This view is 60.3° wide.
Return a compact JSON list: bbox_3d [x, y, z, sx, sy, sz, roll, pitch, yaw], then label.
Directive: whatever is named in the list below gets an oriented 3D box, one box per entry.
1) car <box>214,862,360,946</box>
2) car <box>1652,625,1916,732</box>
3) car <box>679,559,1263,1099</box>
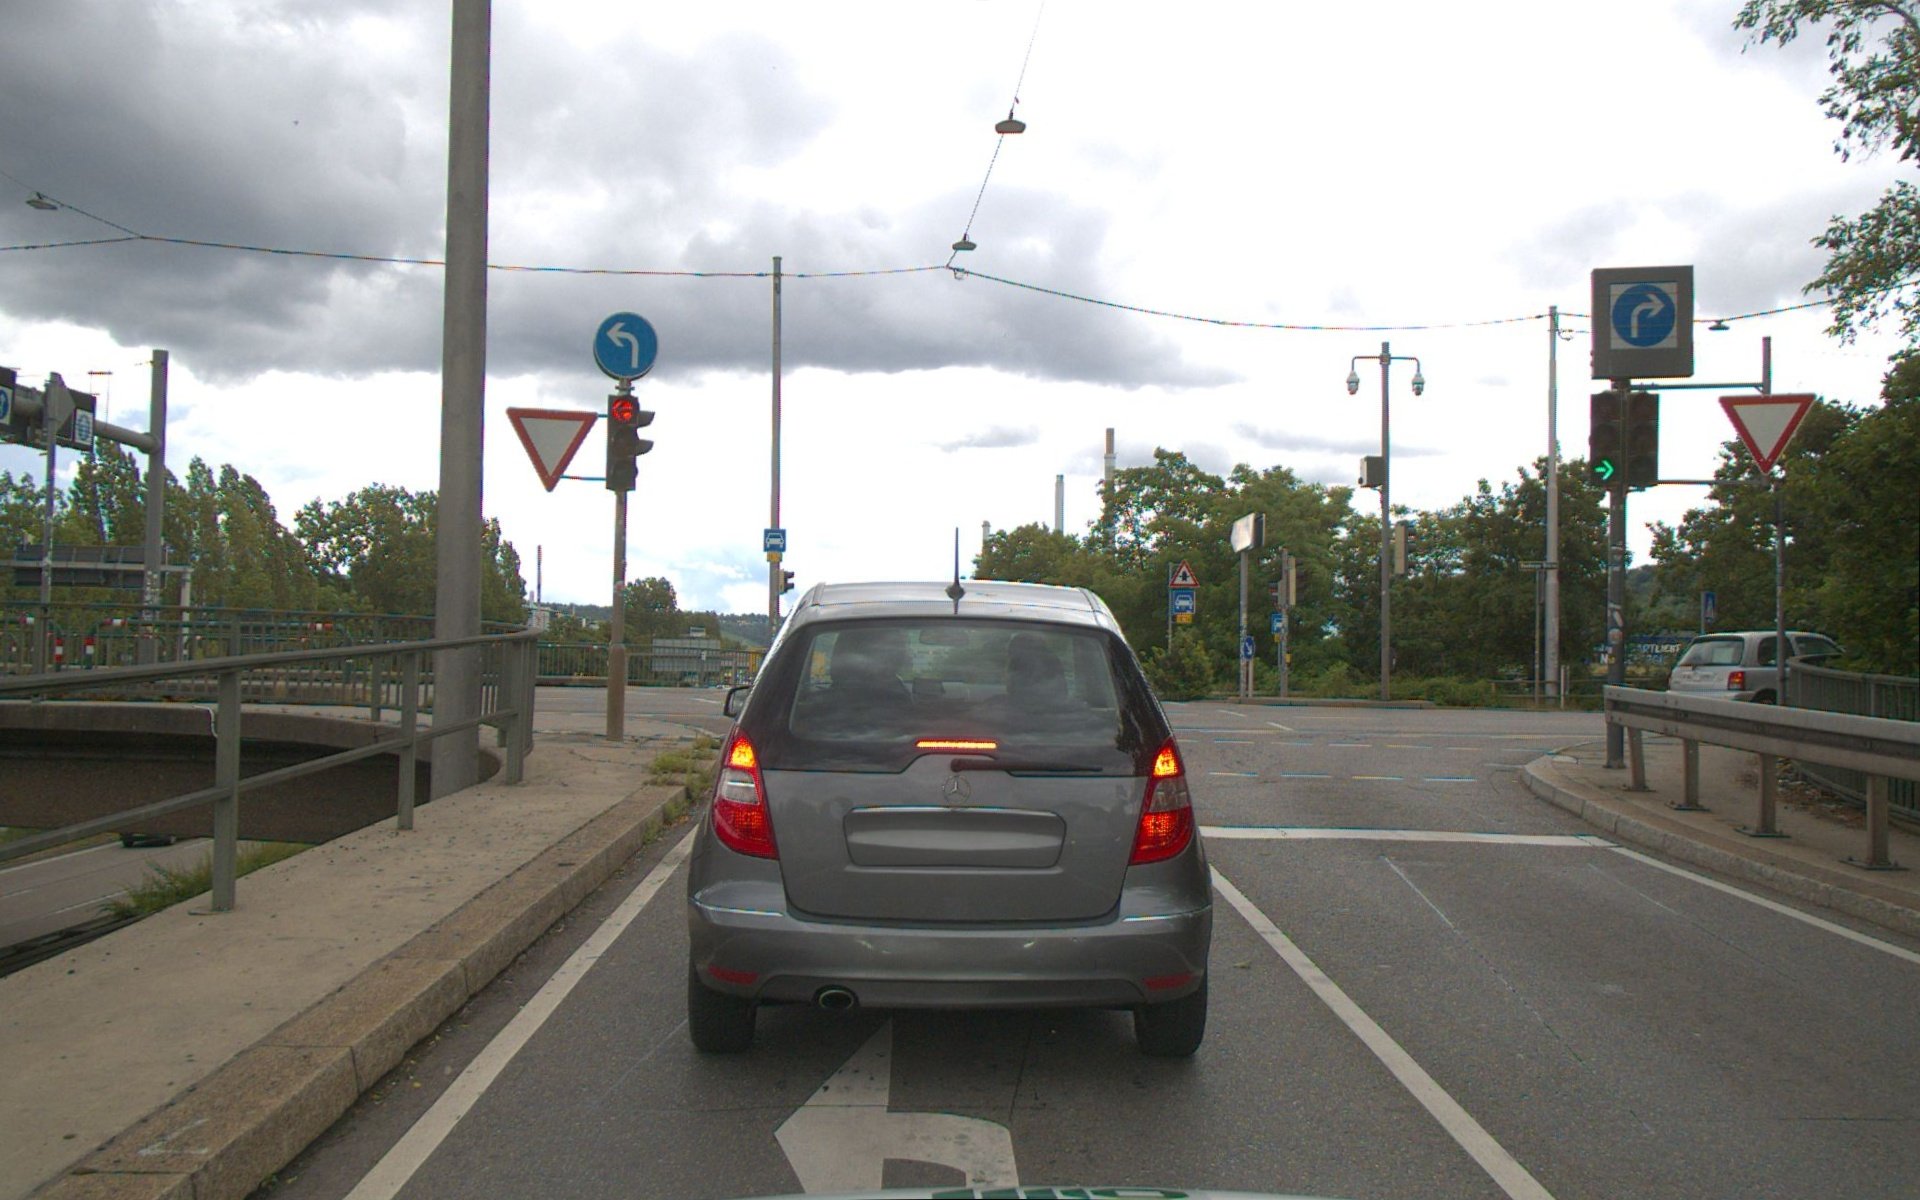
[{"bbox_3d":[-16.928,7.638,41.873,1.820,1.491,4.424,1,-3,0],"label":"car"},{"bbox_3d":[12.070,1.110,24.250,3.380,1.457,1.581,1,0,-20],"label":"car"},{"bbox_3d":[0.018,0.687,6.661,1.704,1.570,3.540,1,0,-1],"label":"car"}]
